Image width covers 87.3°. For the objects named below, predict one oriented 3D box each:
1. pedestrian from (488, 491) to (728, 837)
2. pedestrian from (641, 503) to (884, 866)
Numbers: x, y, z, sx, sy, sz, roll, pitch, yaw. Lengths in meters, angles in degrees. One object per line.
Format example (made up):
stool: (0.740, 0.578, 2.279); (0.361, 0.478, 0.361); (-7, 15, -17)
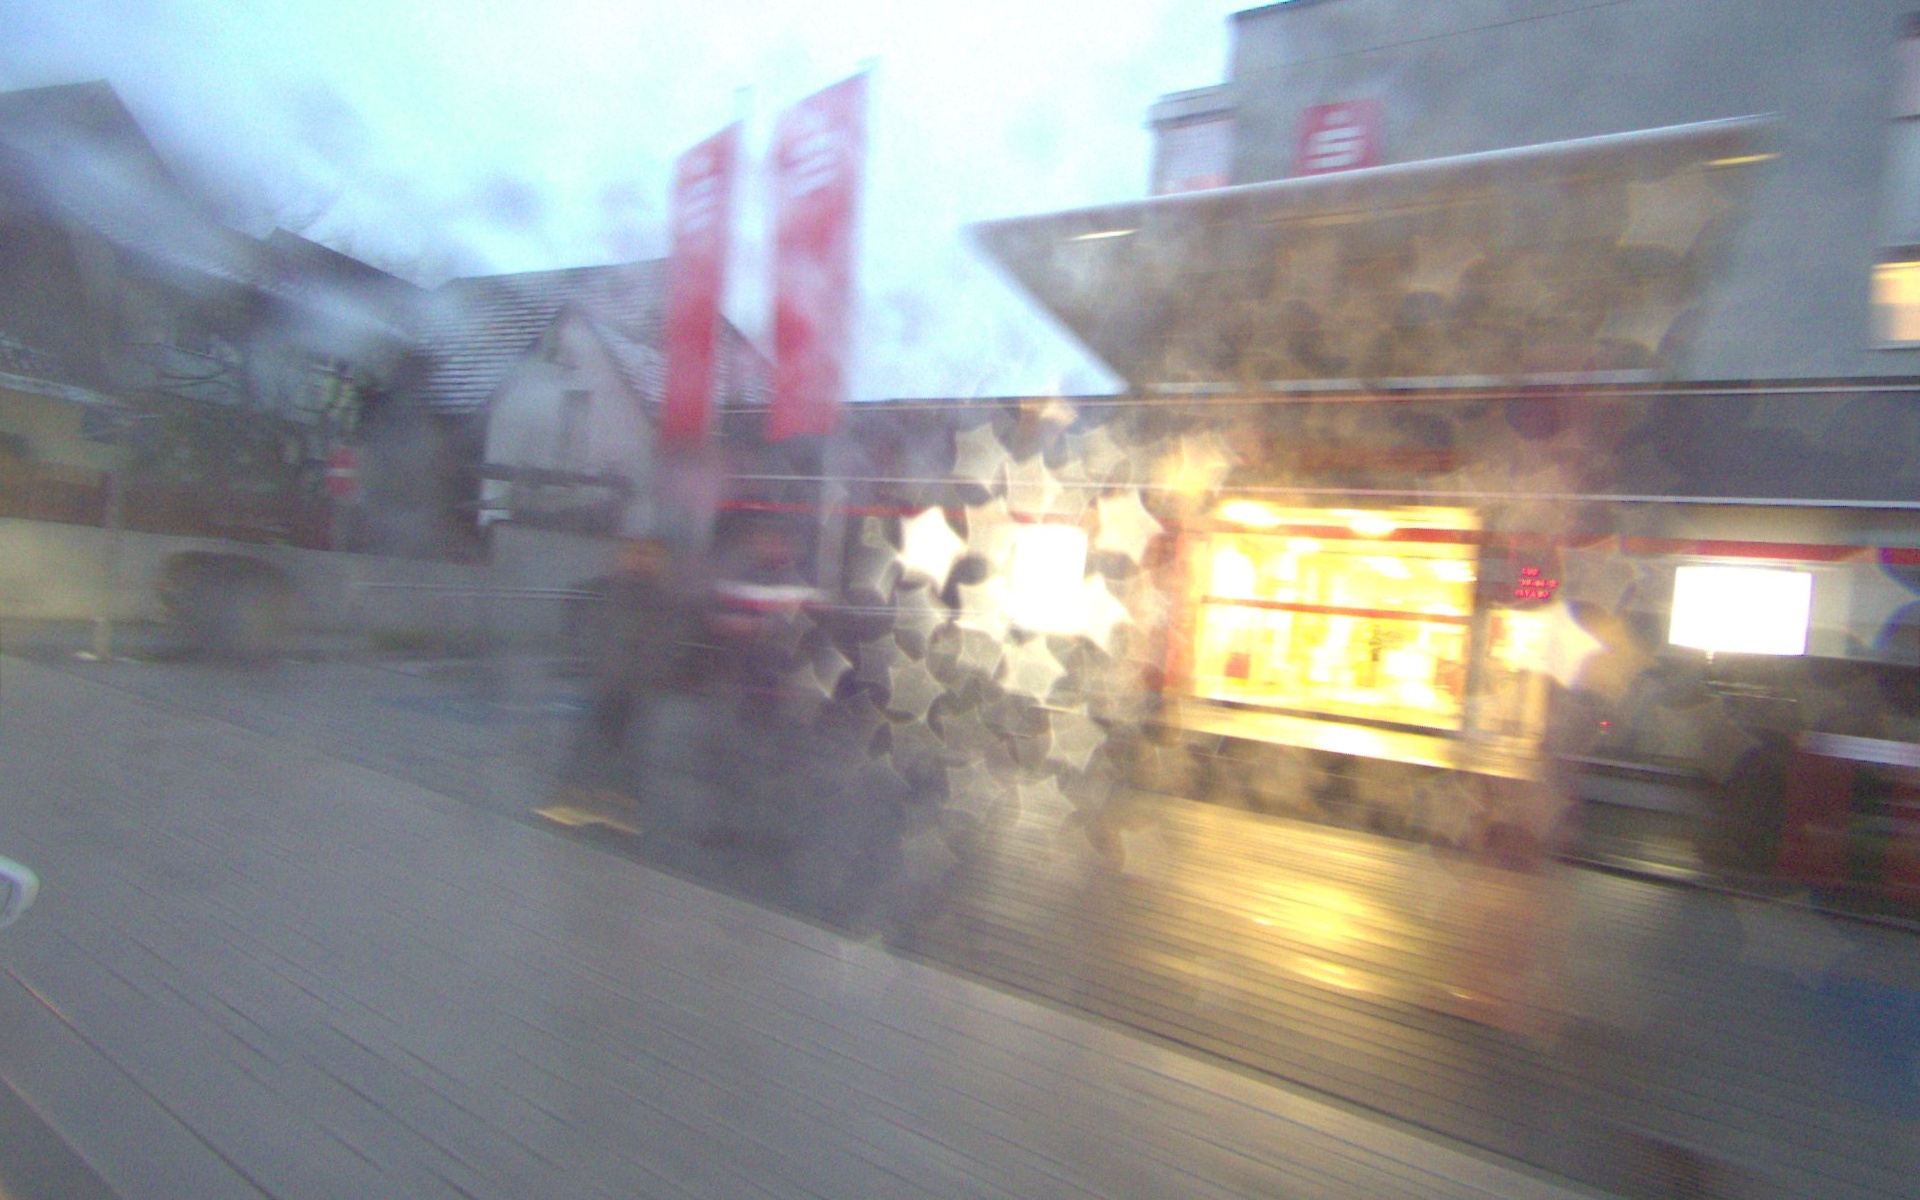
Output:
pedestrian: (-1.958, 0.318, 5.600); (0.833, 1.727, 0.834); (7, 2, 42)
pedestrian: (-1.043, 0.413, 5.401); (0.898, 1.727, 0.705); (6, 2, 22)
